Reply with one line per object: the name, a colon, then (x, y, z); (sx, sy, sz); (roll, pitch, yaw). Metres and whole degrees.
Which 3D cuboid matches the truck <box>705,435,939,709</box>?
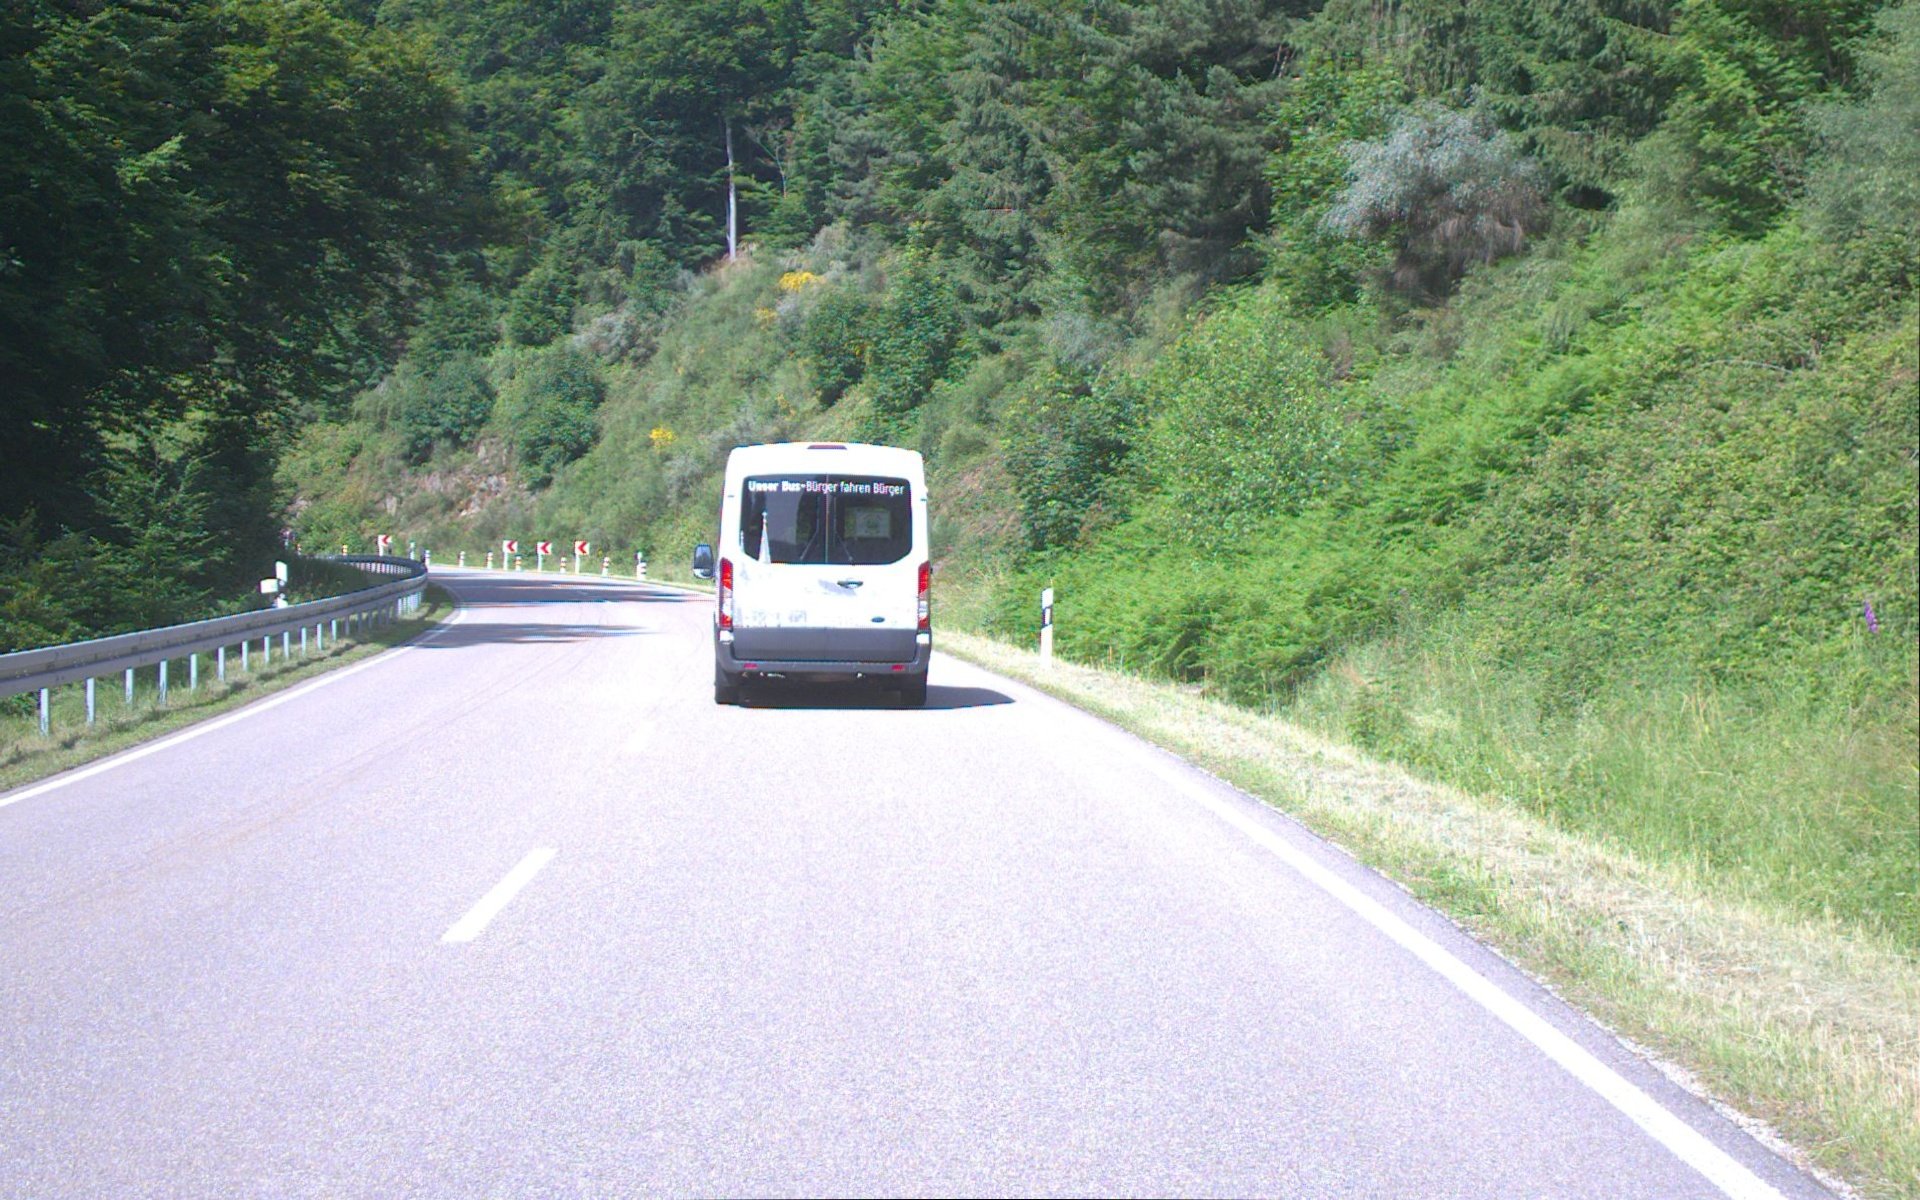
truck: (-1.410, -0.300, 33.657); (2.083, 2.451, 4.876); (1, 1, -4)
